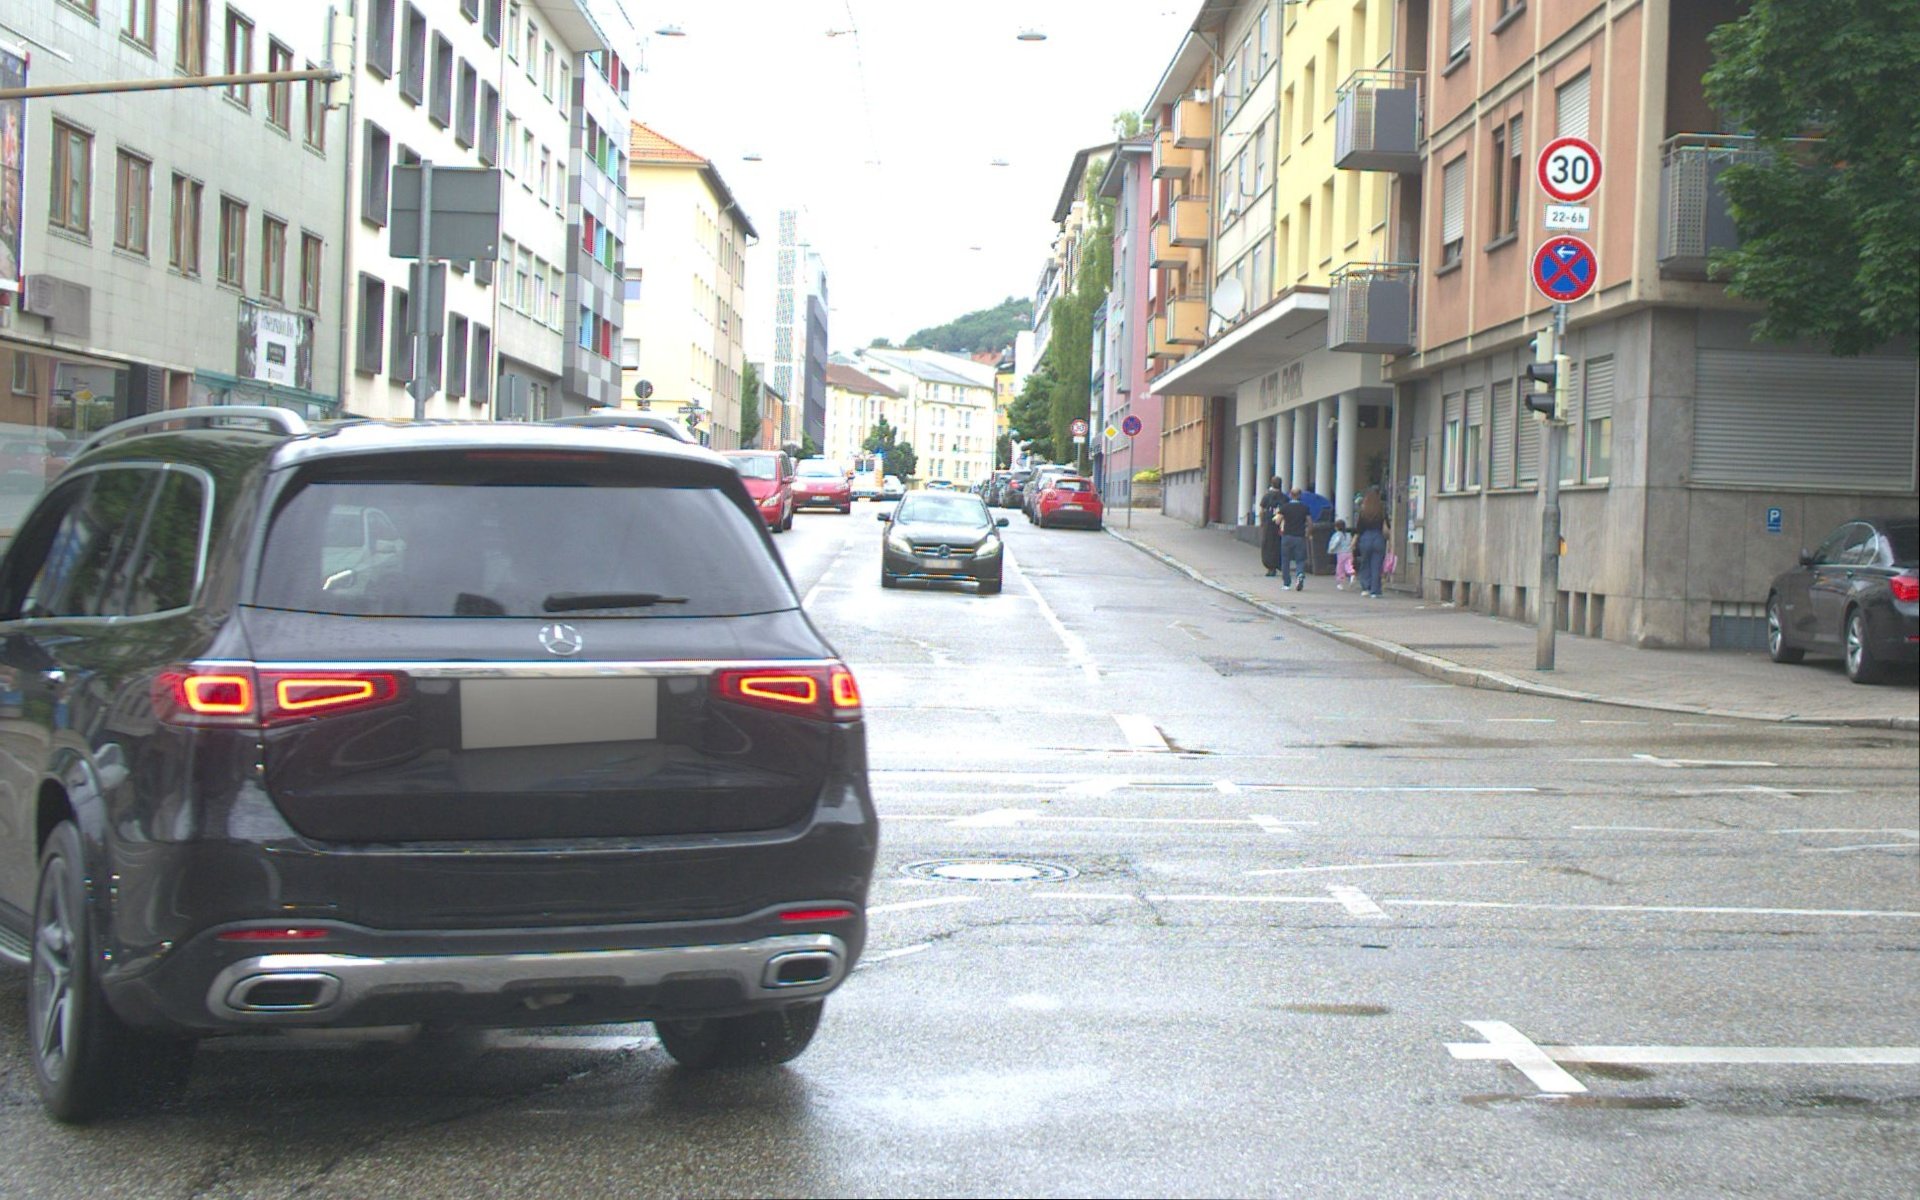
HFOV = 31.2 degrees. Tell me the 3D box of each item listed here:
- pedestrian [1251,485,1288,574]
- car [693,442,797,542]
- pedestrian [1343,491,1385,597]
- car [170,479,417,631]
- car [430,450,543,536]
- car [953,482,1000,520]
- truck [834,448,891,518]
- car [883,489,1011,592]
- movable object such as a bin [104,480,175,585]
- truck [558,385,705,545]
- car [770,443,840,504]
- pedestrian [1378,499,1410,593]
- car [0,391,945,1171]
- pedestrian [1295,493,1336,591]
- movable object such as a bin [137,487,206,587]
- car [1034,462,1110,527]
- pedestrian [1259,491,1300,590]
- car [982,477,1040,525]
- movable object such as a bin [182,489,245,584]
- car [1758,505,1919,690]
[{"bbox_3d":[5.591,-1.274,62.092,0.520,1.550,0.569,3,4,0],"label":"pedestrian"},{"bbox_3d":[-4.982,-2.491,80.257,2.065,2.233,4.620,1,1,1],"label":"car"},{"bbox_3d":[6.135,-0.859,52.272,0.479,1.560,0.558,3,4,0],"label":"pedestrian"},{"bbox_3d":[-6.973,-0.500,36.346,1.844,1.507,4.000,0,1,0],"label":"car"},{"bbox_3d":[-9.250,-2.073,67.436,1.723,1.597,4.000,1,1,-1],"label":"car"},{"bbox_3d":[0.781,-4.679,162.469,2.016,1.557,4.000,3,0,2],"label":"car"},{"bbox_3d":[-5.810,-6.969,205.940,2.807,3.819,8.144,3,0,1],"label":"truck"},{"bbox_3d":[-0.198,-0.904,52.391,1.844,1.484,4.000,1,1,0],"label":"car"},{"bbox_3d":[-10.653,-0.868,44.662,0.697,1.311,0.782,3,0,-2],"label":"movable object such as a bin"},{"bbox_3d":[-8.686,-3.505,91.759,2.807,3.819,8.144,3,0,1],"label":"truck"},{"bbox_3d":[-4.533,-3.696,100.901,1.844,1.668,4.000,1,1,0],"label":"car"},{"bbox_3d":[6.598,-0.819,52.271,0.363,1.394,0.370,3,4,0],"label":"pedestrian"},{"bbox_3d":[-1.952,0.380,10.219,2.020,1.733,4.748,1,0,-24],"label":"car"},{"bbox_3d":[5.703,-0.930,55.194,0.520,1.513,0.569,3,4,0],"label":"pedestrian"},{"bbox_3d":[-10.682,-0.843,46.591,0.697,1.311,0.782,3,0,-2],"label":"movable object such as a bin"},{"bbox_3d":[3.141,-2.941,96.414,2.016,1.557,5.154,3,0,2],"label":"car"},{"bbox_3d":[5.123,-0.957,55.181,0.520,1.533,0.569,3,4,0],"label":"pedestrian"},{"bbox_3d":[1.915,-3.672,128.301,2.016,1.557,4.000,3,0,2],"label":"car"},{"bbox_3d":[-10.707,-0.904,49.327,0.697,1.311,0.782,3,0,-2],"label":"movable object such as a bin"},{"bbox_3d":[8.722,-0.058,31.312,1.844,1.549,4.796,1,1,1],"label":"car"}]
